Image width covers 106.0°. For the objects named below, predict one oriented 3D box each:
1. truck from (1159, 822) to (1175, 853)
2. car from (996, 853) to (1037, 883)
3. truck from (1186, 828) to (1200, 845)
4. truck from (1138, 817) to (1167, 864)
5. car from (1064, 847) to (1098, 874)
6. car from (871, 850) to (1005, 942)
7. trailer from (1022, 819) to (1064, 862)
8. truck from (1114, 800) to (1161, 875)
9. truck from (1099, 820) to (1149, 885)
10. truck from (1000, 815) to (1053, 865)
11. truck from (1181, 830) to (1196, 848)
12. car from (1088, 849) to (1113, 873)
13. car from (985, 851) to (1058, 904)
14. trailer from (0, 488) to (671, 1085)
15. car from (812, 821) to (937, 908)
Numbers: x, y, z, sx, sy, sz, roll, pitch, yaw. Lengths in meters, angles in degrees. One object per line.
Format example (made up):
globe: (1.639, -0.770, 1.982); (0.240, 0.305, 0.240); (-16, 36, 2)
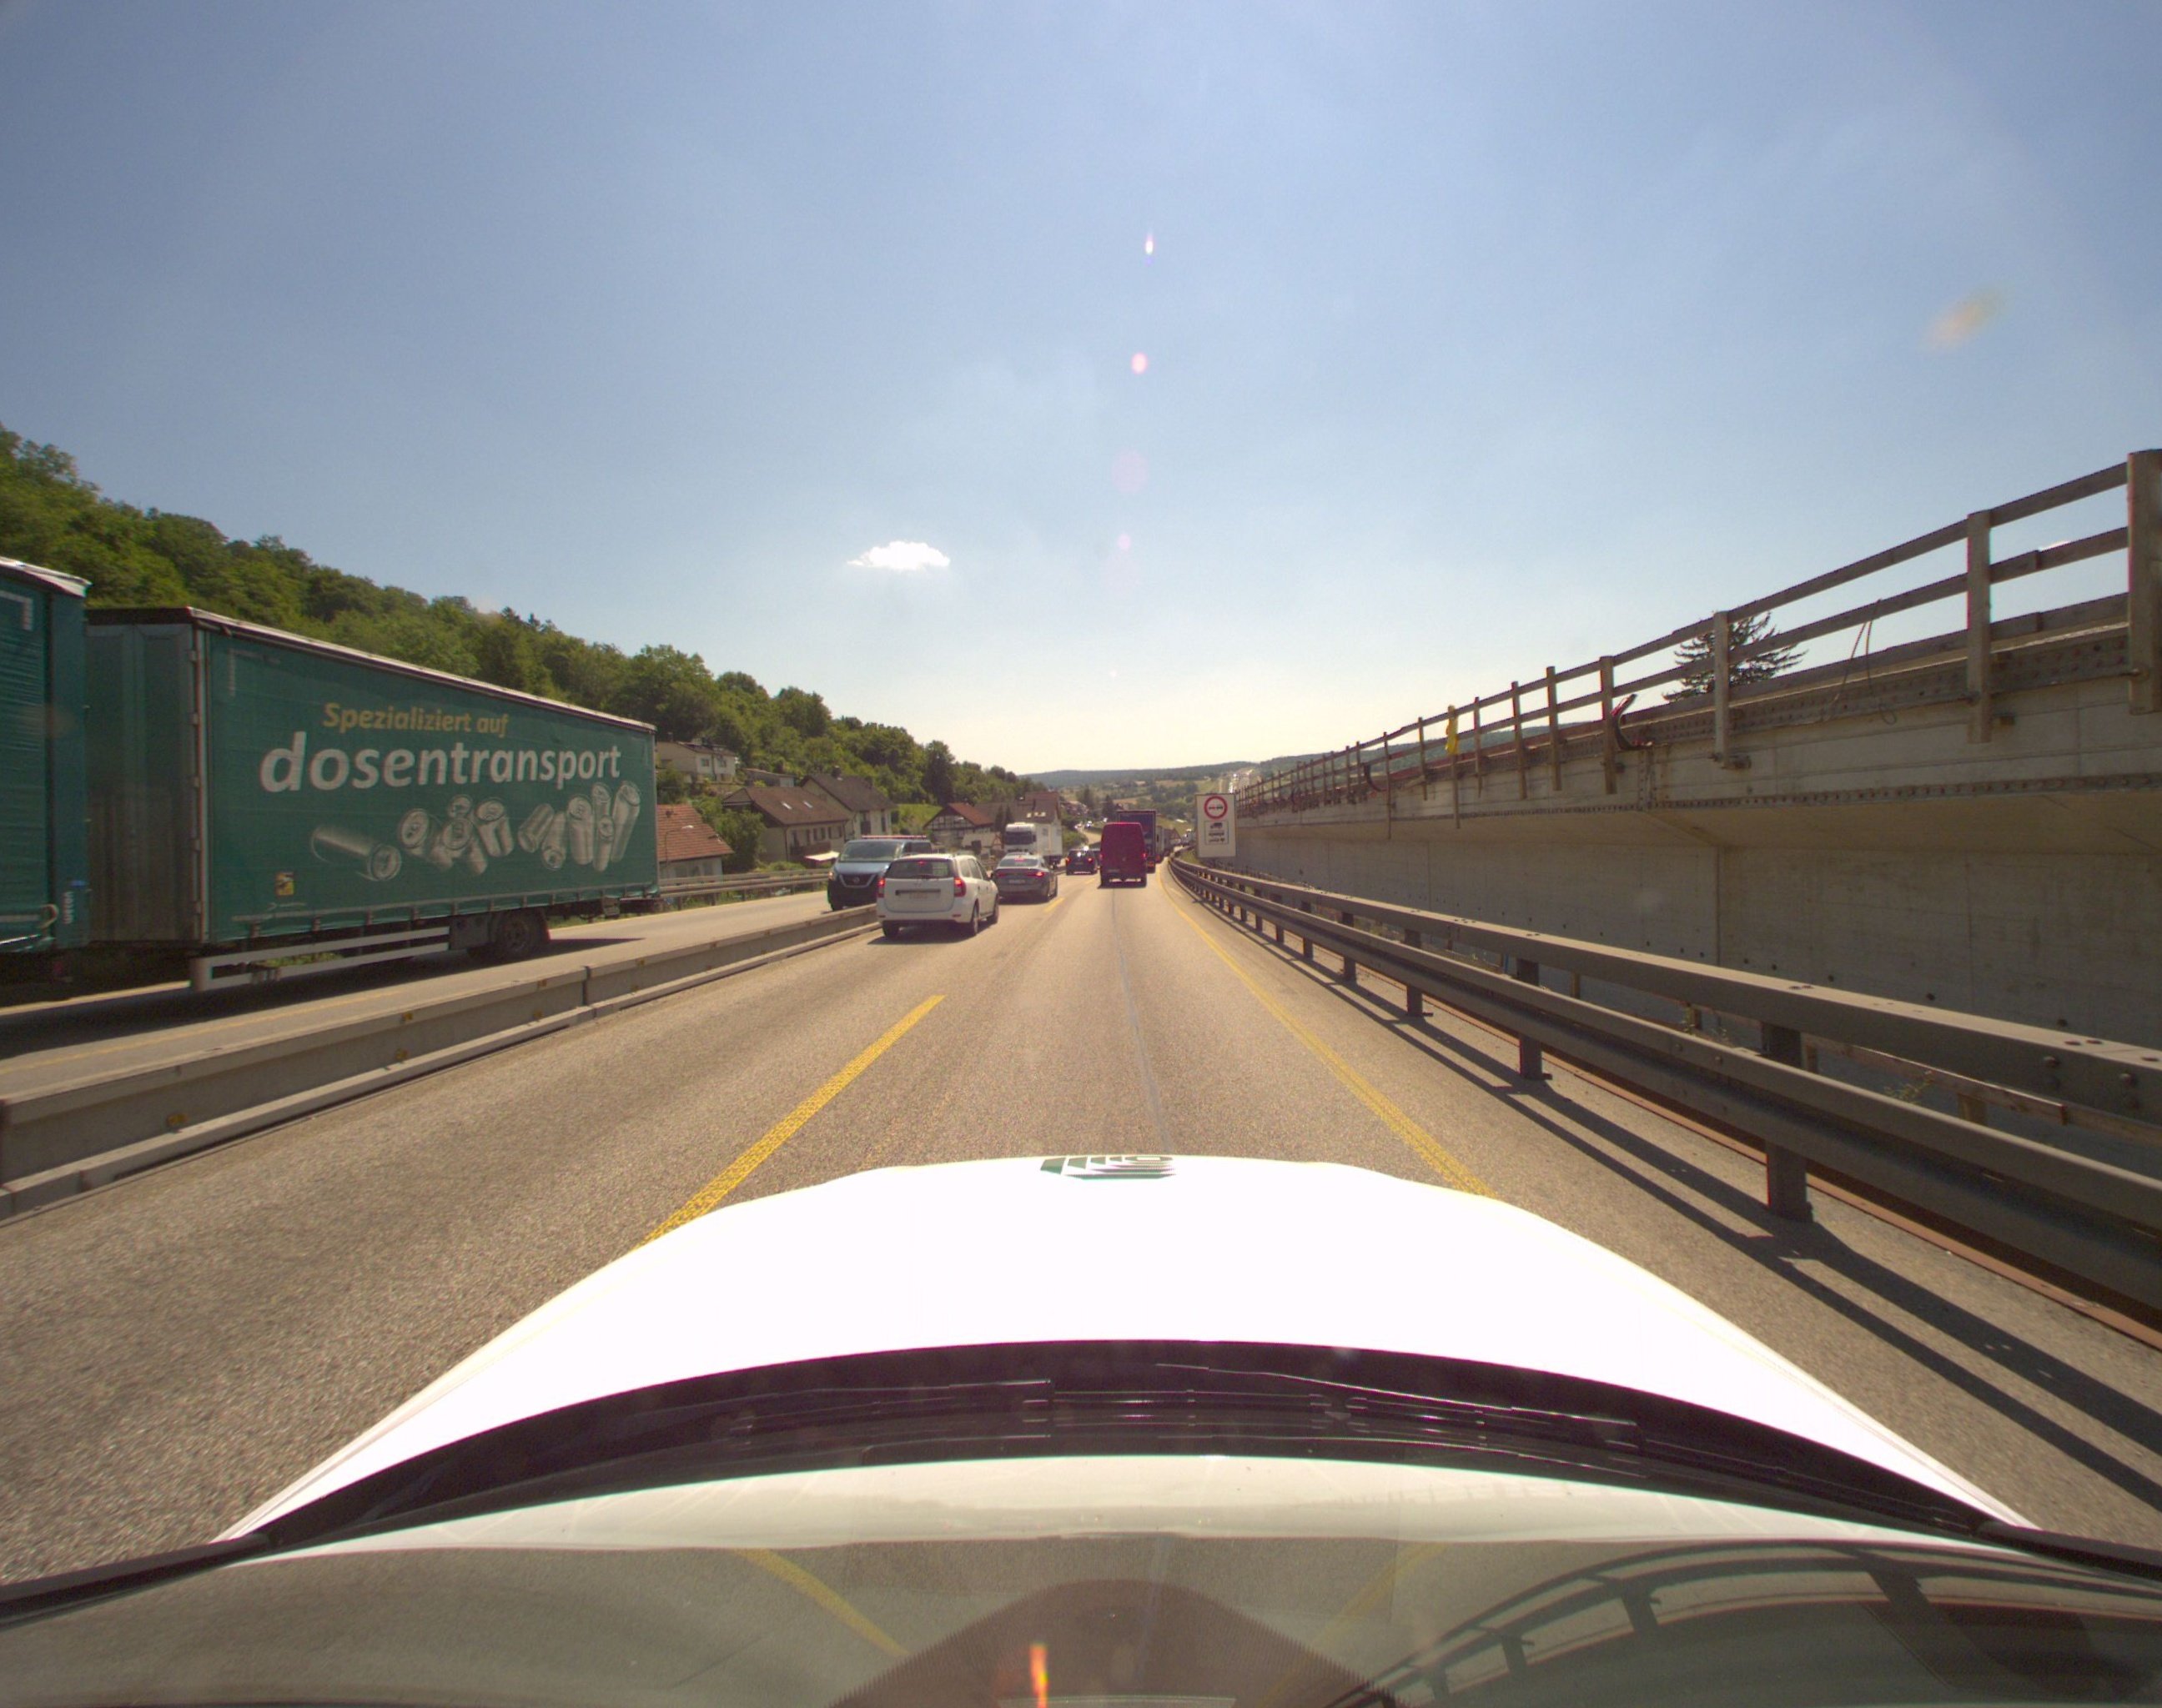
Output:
truck: (12.719, -2.356, 120.157); (1.981, 4.381, 4.012); (-1, -1, 11)
car: (-3.757, 0.772, 48.140); (1.573, 1.521, 4.161); (-3, 1, 6)
truck: (31.483, -4.860, 228.927); (3.445, 4.381, 8.582); (-1, -1, 11)
truck: (7.896, -1.331, 88.927); (2.771, 4.816, 9.703); (-1, -1, 7)
car: (0.012, 0.426, 52.141); (1.801, 1.608, 3.724); (-1, -1, 5)
car: (-2.637, 0.735, 16.032); (1.645, 1.483, 4.269); (-3, -1, 2)
trailer: (-3.808, -1.321, 84.041); (2.989, 4.165, 9.032); (-1, 0, 6)
truck: (4.155, -1.022, 57.995); (2.771, 4.816, 9.703); (-1, -1, 7)
truck: (1.826, -0.032, 35.002); (1.985, 2.578, 4.002); (-1, -1, 2)
truck: (-4.833, -1.209, 74.289); (2.963, 4.162, 10.563); (-1, 0, 6)
truck: (27.418, -3.747, 207.322); (3.050, 4.381, 8.582); (-1, -1, 11)
car: (1.605, 0.607, 65.672); (1.721, 1.838, 4.006); (-1, -1, 6)
car: (-1.774, 0.677, 25.523); (1.787, 1.485, 4.052); (-1, 0, 2)
trailer: (-9.692, -0.481, 8.492); (2.822, 4.642, 14.589); (-1, -1, 3)
car: (-5.722, 0.302, 23.270); (1.984, 2.173, 4.838); (-1, -1, 4)
